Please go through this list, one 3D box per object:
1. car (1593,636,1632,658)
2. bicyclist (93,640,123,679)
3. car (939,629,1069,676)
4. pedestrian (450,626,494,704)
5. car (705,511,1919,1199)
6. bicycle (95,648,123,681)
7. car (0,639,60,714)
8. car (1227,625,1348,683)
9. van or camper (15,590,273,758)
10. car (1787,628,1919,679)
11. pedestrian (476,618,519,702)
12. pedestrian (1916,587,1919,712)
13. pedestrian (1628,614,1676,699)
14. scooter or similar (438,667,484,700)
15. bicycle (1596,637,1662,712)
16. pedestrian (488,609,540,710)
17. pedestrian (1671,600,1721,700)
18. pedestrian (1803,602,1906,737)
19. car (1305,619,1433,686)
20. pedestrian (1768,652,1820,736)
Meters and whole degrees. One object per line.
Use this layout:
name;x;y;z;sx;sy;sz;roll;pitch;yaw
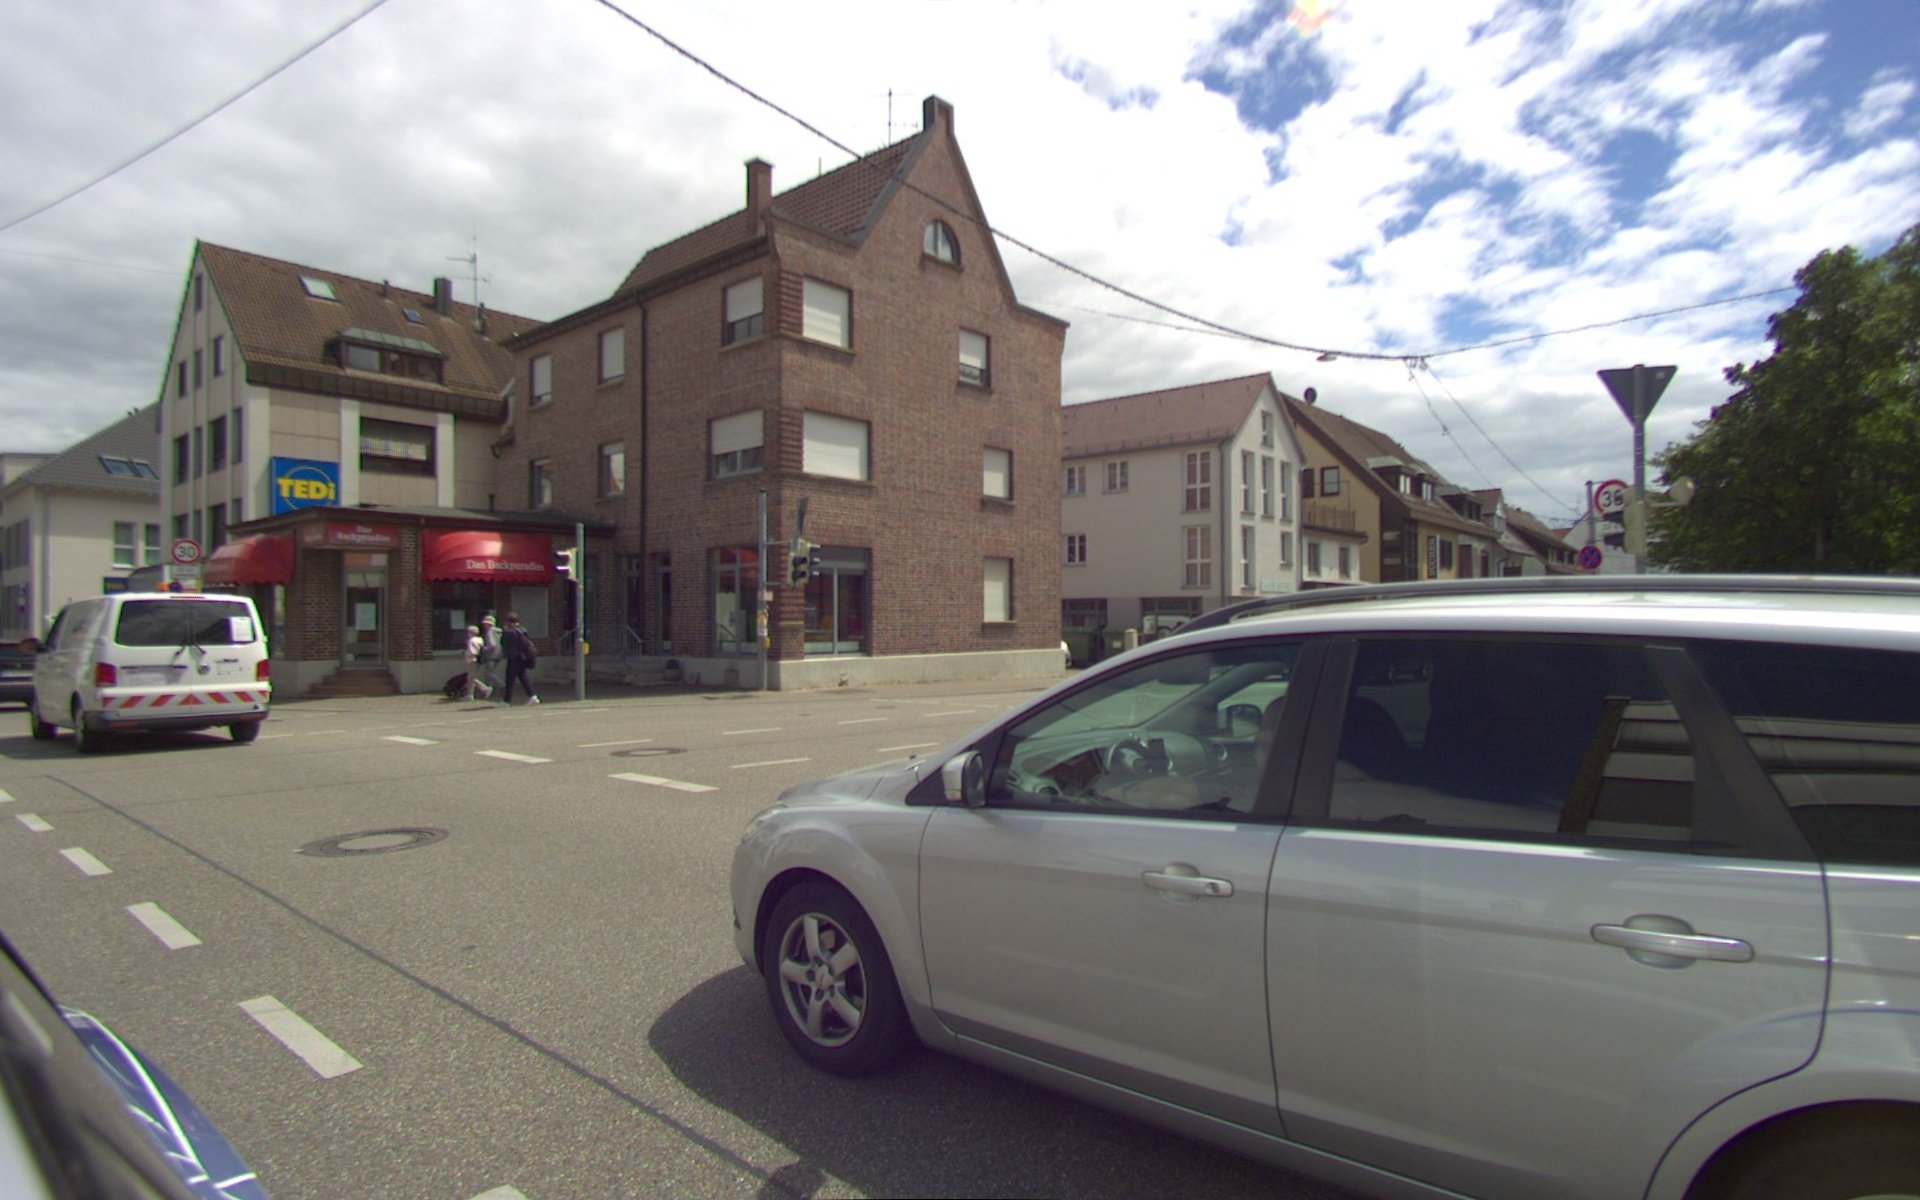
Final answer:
car;49.129;3.532;76.152;1.920;1.586;4.270;-2;-3;40
bicyclist;-30.621;2.130;36.372;0.761;1.347;0.660;0;2;40
car;1.383;1.676;32.676;3.998;1.427;1.726;-2;-3;41
pedestrian;-9.802;1.288;20.336;0.760;1.496;0.519;0;0;38
car;1.259;0.689;2.756;4.211;1.565;1.651;-3;-2;40
bicycle;-30.607;2.313;36.373;1.733;1.058;0.439;0;2;40
car;-20.868;1.602;21.812;3.964;1.508;1.665;-2;-3;41
car;9.779;1.566;30.053;1.920;1.586;4.270;-2;-3;40
van or camper;-11.220;0.947;13.800;4.687;1.912;1.846;-3;-3;40
car;25.183;1.441;27.654;1.756;1.331;3.731;2;-3;-40
pedestrian;-9.506;1.222;20.793;0.760;1.671;0.519;0;0;38
pedestrian;13.970;0.715;14.219;0.550;1.789;0.619;0;0;16
pedestrian;13.161;1.069;19.276;0.675;1.589;0.727;-2;-3;33
scooter or similar;-10.259;1.715;20.824;0.803;0.651;0.377;0;-3;18
bicycle;10.867;1.191;16.485;0.773;1.150;1.868;-1;-3;30
pedestrian;-8.232;1.083;18.694;0.719;1.810;0.619;0;0;38
pedestrian;14.045;0.951;19.327;0.675;1.850;0.727;-2;-3;33
pedestrian;11.041;0.828;12.515;0.690;1.609;0.722;0;0;14
car;10.651;1.332;26.235;1.920;1.586;3.946;-2;-3;40
pedestrian;10.370;1.159;12.590;0.382;1.012;0.361;0;0;15
